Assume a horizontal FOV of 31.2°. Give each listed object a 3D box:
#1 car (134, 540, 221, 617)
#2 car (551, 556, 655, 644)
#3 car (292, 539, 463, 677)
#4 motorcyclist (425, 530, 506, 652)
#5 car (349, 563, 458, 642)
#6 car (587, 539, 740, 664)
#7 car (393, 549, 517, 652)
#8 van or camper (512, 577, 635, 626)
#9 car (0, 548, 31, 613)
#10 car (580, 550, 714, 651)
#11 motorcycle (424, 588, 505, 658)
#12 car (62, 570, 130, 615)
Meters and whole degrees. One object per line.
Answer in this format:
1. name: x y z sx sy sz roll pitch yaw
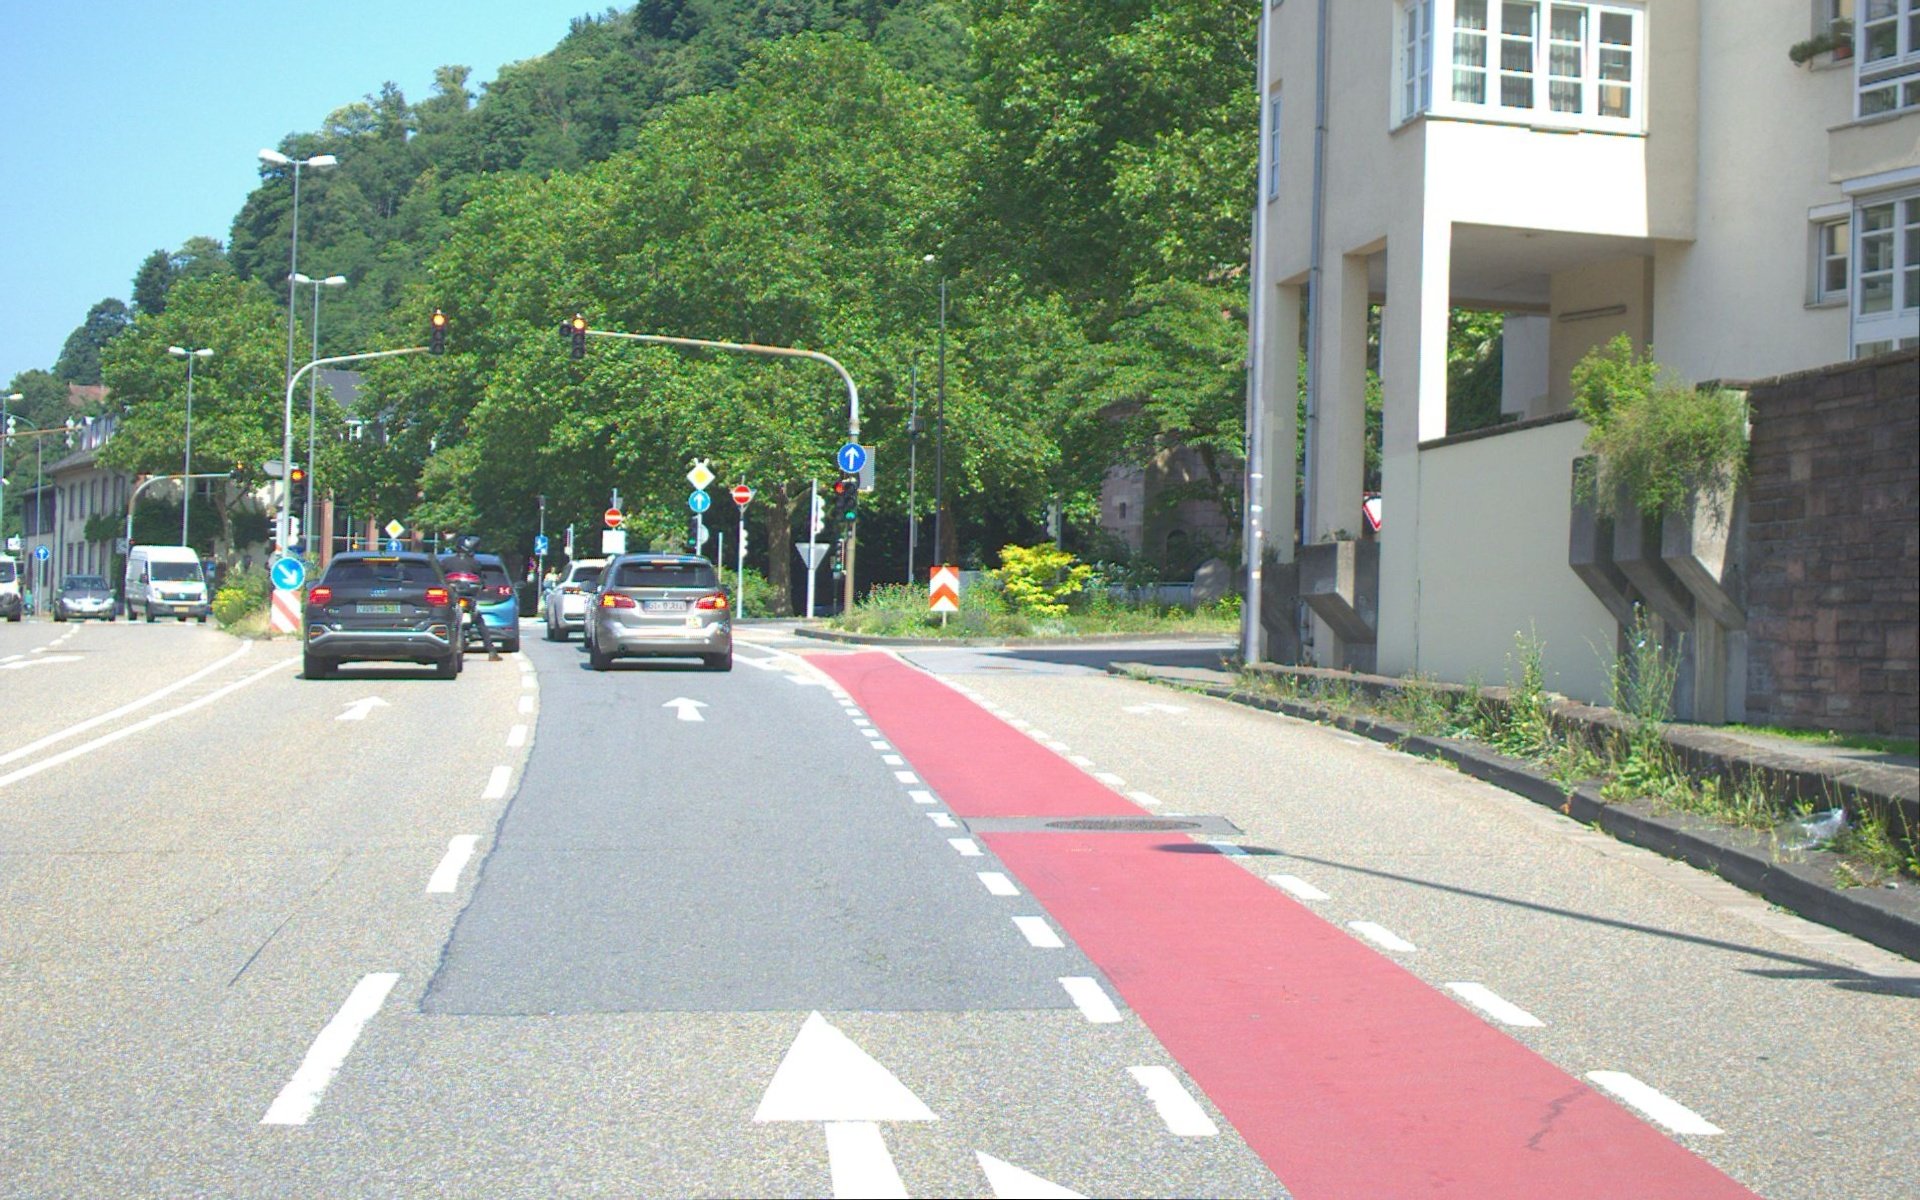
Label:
1. car: -27.018 -0.748 118.612 2.383 2.568 6.057 0 0 -18
2. car: -6.561 -0.007 62.809 1.785 1.527 4.738 0 0 -7
3. car: -6.970 0.083 41.360 1.868 1.508 4.152 2 0 -9
4. motorcyclist: -6.946 -0.132 48.382 1.075 1.678 1.156 1 1 -7
5. car: -10.044 0.023 62.254 1.866 1.354 4.001 1 1 -8
6. car: -3.998 0.013 46.046 1.888 1.516 4.306 2 0 -6
7. car: -8.027 -0.025 54.700 1.866 1.557 4.001 1 1 -8
8. van or camper: -15.542 0.050 138.404 4.544 1.895 1.999 1 0 10
9. car: -31.914 -0.682 113.633 2.213 2.071 5.045 0 1 -16
10. car: -5.123 -0.016 55.732 1.993 1.528 4.859 1 0 -7
11. motorcycle: -6.923 0.314 48.132 1.037 0.916 2.605 1 1 -6
12. car: -28.891 -0.271 114.991 1.993 1.427 4.168 0 1 -11
